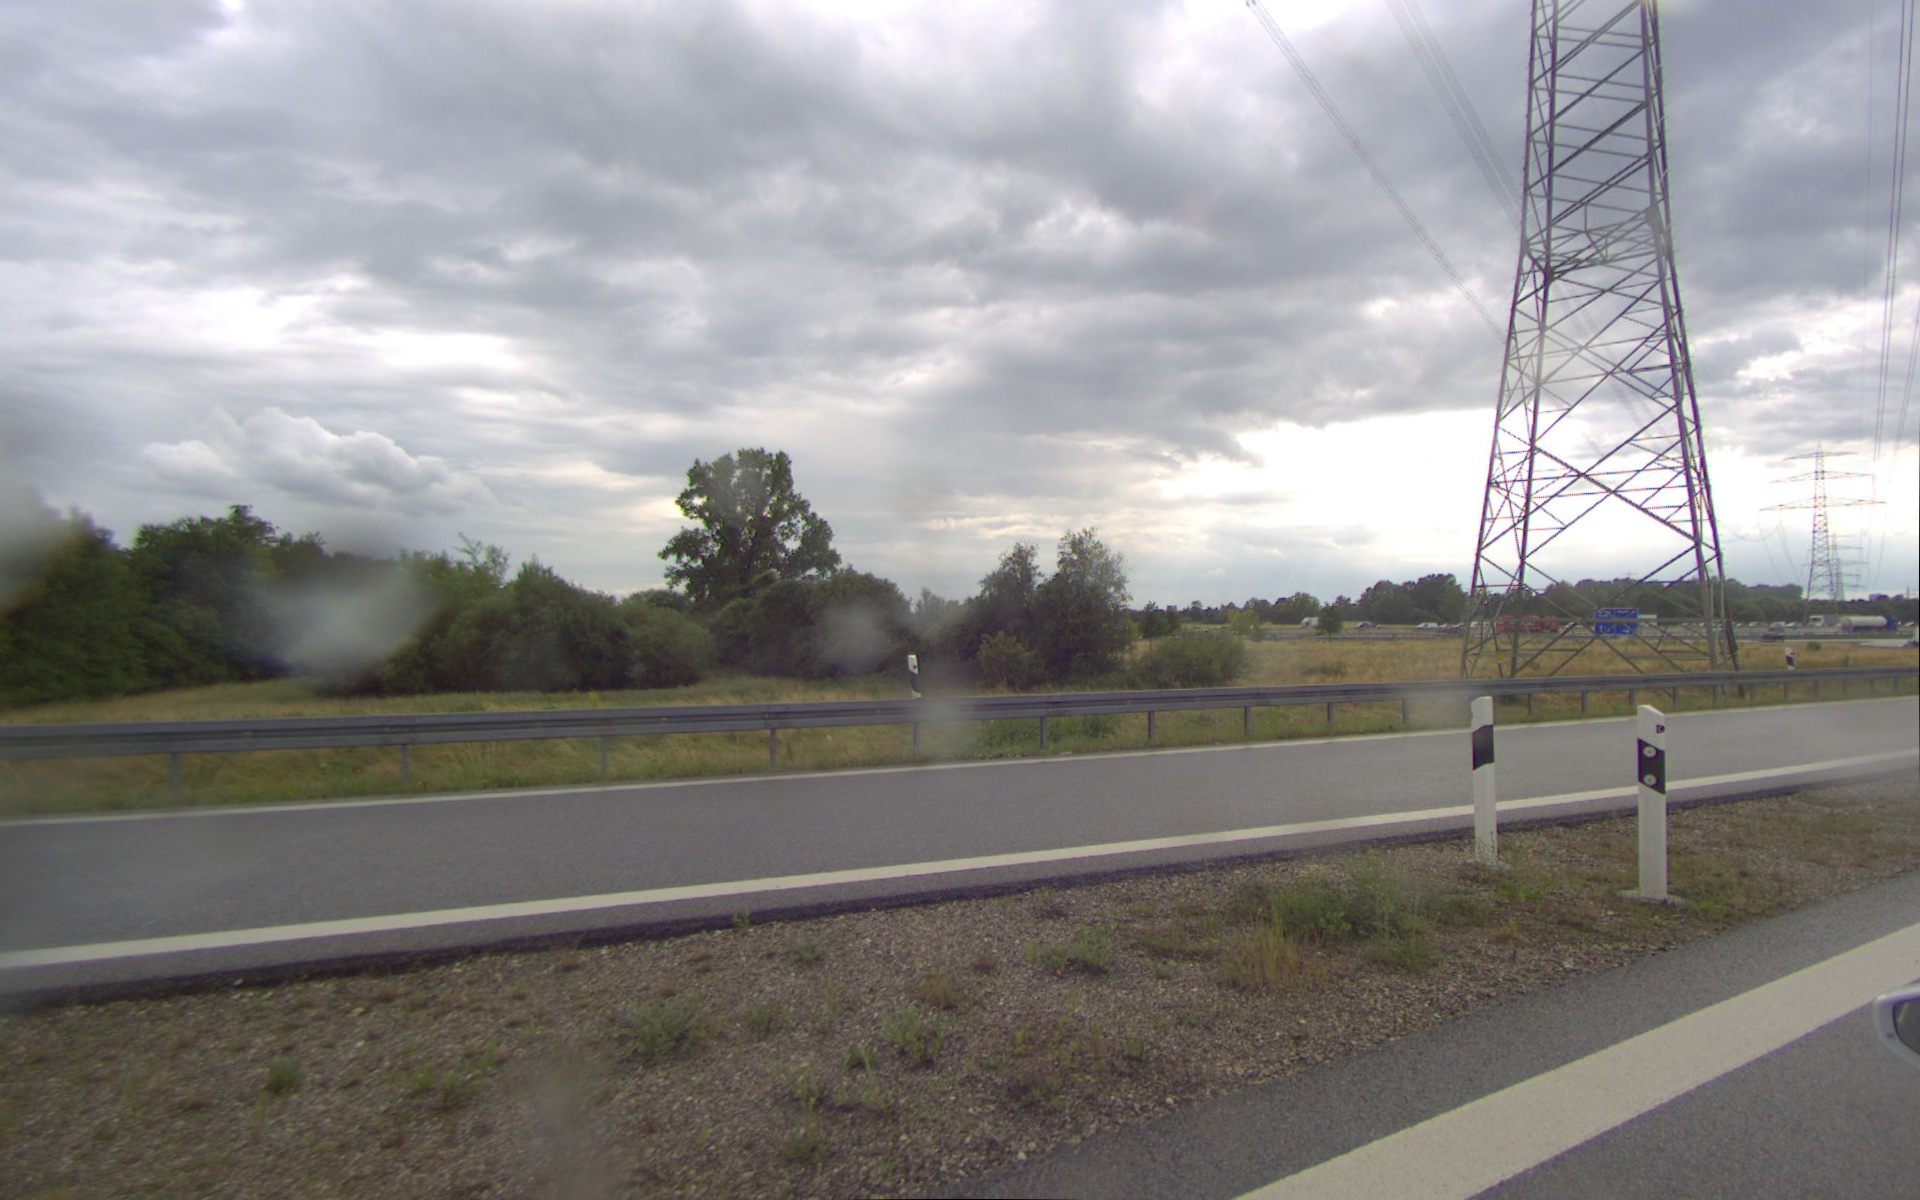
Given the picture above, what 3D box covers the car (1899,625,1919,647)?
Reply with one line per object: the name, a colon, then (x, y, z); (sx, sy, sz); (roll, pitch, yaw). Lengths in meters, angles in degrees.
car: (157.773, 5.888, 164.063); (3.329, 3.658, 9.042); (0, -1, 22)
